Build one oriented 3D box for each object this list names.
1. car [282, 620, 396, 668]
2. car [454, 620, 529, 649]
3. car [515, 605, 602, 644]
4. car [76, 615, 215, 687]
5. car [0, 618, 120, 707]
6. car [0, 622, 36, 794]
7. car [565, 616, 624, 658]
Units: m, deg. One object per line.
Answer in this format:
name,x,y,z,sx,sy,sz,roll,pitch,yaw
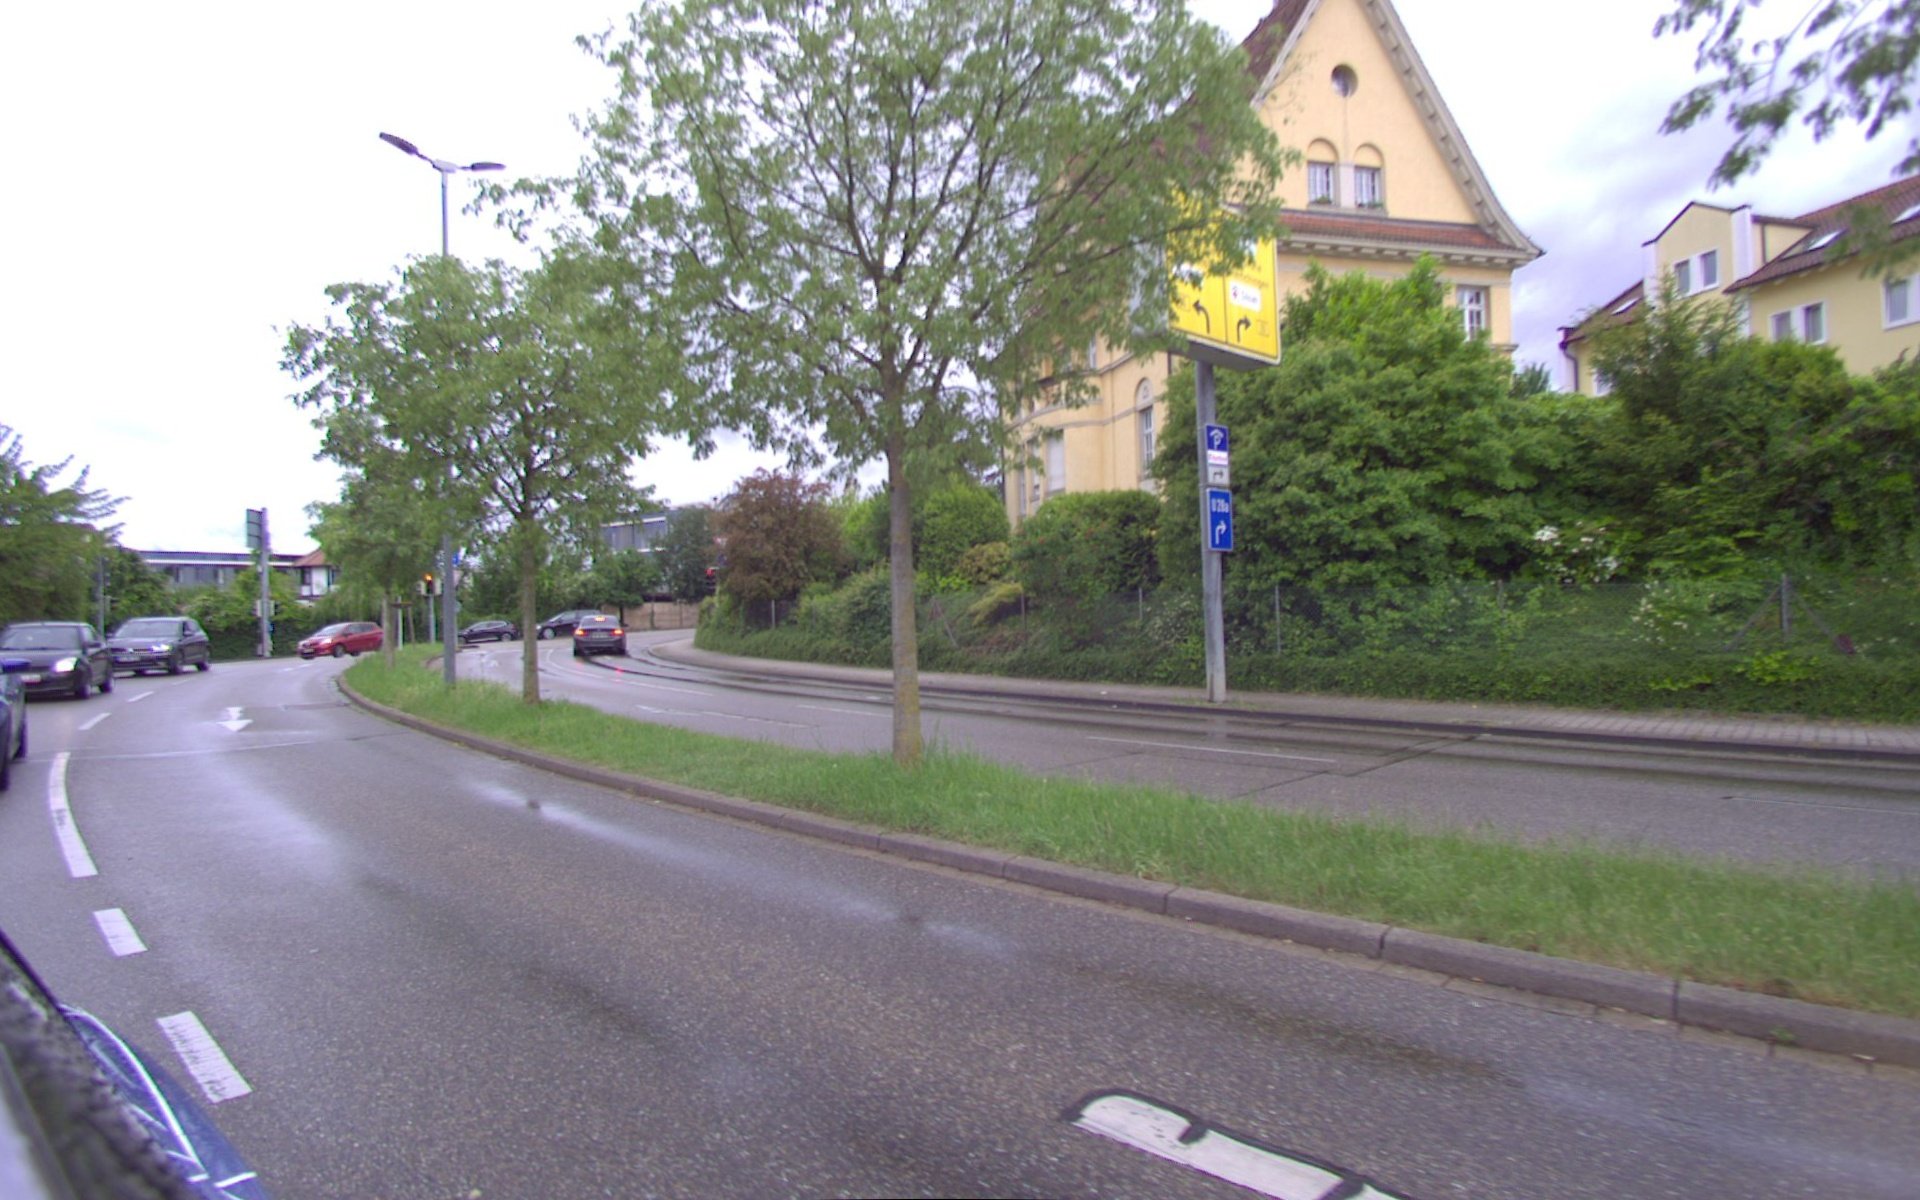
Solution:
car,-26.888,1.854,43.995,1.852,1.739,3.980,-5,-1,15
car,-28.470,2.081,61.609,3.932,1.683,2.006,0,1,-16
car,-21.603,1.325,54.522,3.934,1.739,1.874,-4,-1,-34
car,-23.262,1.456,29.100,1.935,1.763,4.321,-5,-1,-24
car,-18.182,1.265,20.093,1.718,1.530,4.011,-4,-1,-32
car,-9.982,0.982,9.323,1.884,1.507,4.357,0,-2,-39
car,-13.580,1.374,37.819,1.966,1.449,4.562,0,-2,-18
